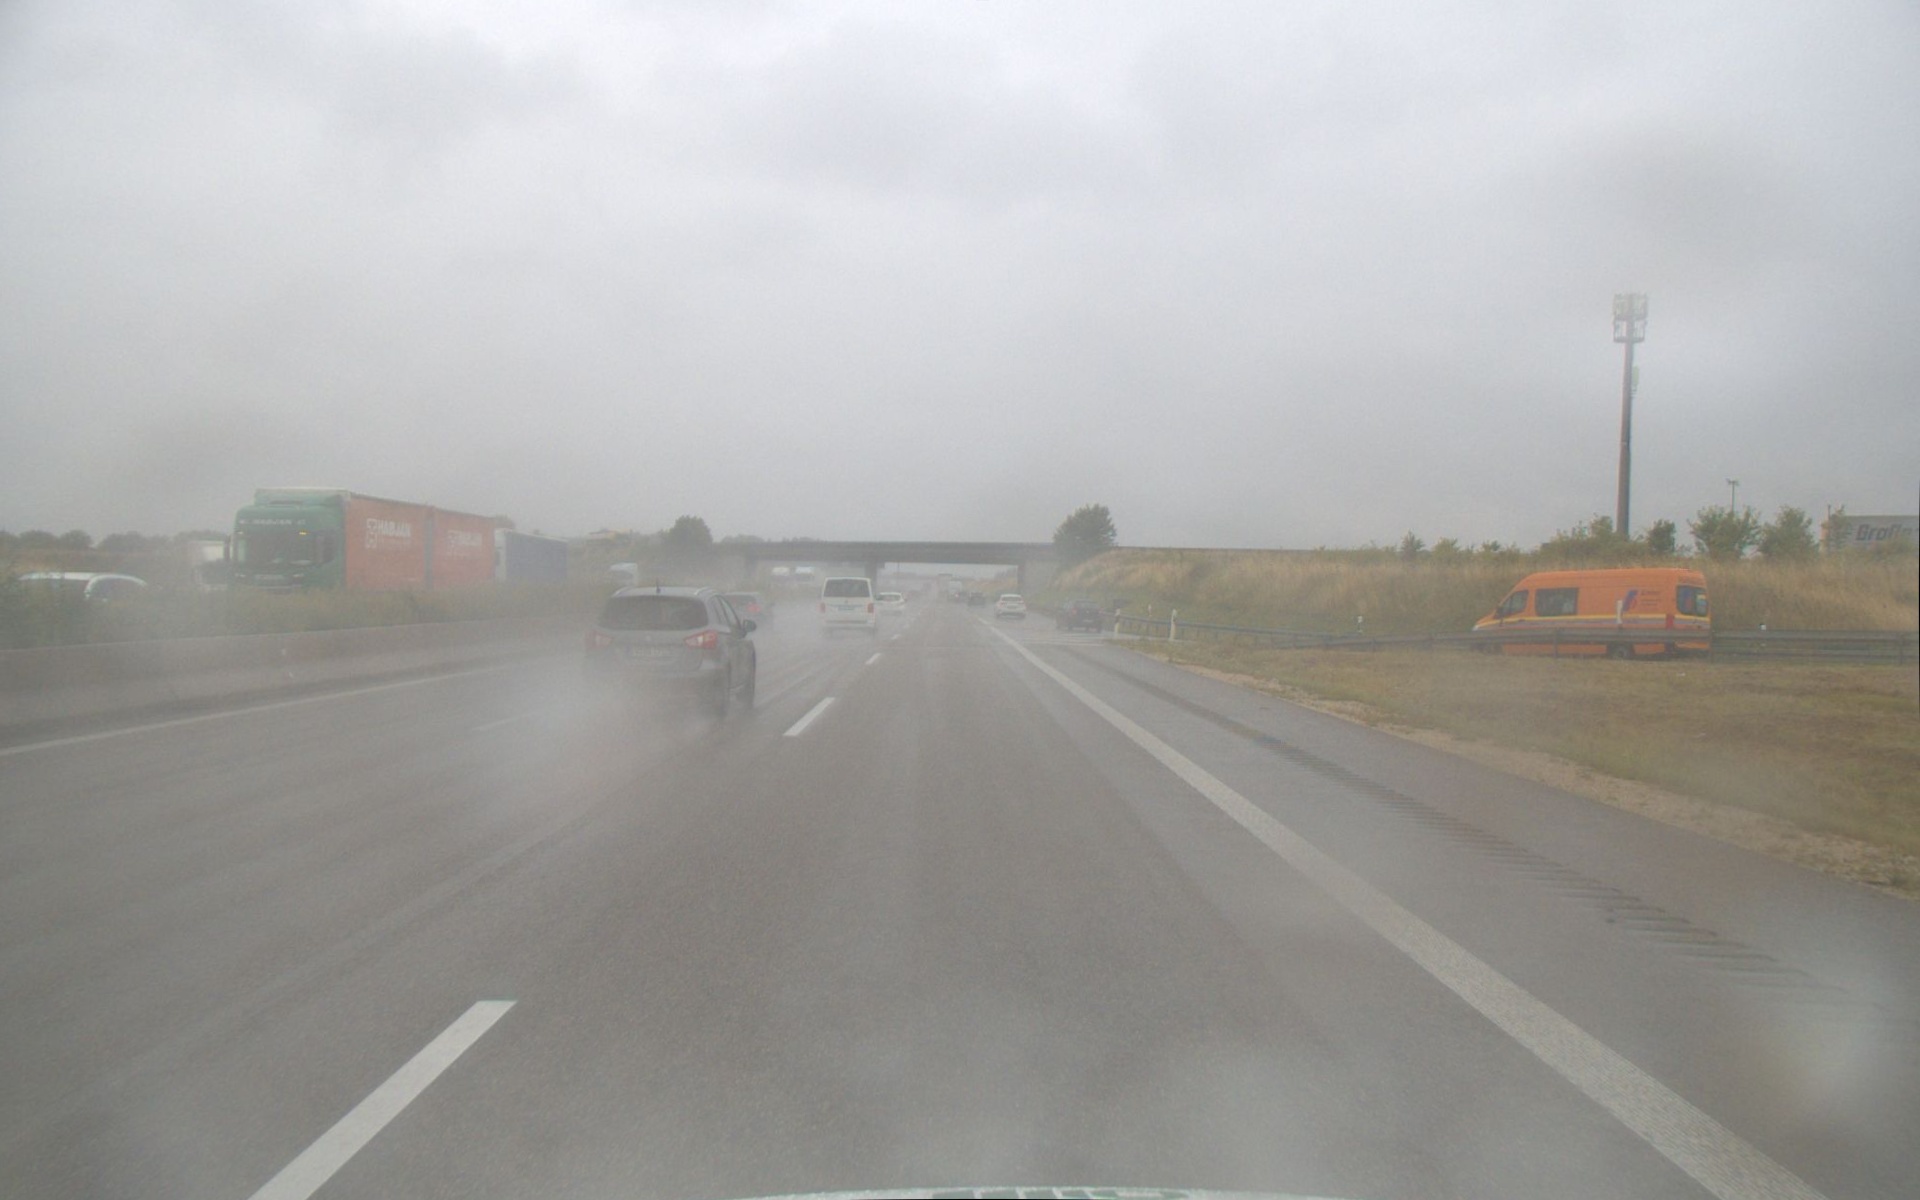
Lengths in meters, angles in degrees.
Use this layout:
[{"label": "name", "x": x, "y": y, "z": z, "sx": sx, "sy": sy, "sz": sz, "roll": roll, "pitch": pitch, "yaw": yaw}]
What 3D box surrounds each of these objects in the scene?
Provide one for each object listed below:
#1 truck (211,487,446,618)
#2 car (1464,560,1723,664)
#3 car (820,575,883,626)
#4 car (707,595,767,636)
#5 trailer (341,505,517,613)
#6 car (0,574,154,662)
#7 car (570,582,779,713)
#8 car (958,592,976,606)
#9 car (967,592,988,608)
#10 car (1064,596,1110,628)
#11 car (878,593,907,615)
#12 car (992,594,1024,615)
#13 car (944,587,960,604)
[{"label": "truck", "x": -18.423, "y": -1.288, "z": 49.203, "sx": 3.199, "sy": 3.501, "sz": 10.128, "roll": 0, "pitch": 0, "yaw": -1}, {"label": "car", "x": 17.644, "y": 0.277, "z": 46.492, "sx": 2.044, "sy": 2.661, "sz": 6.802, "roll": 2, "pitch": 0, "yaw": -35}, {"label": "car", "x": -3.592, "y": 0.031, "z": 55.447, "sx": 1.858, "sy": 1.613, "sz": 3.999, "roll": 1, "pitch": 0, "yaw": 0}, {"label": "car", "x": -7.939, "y": 0.549, "z": 59.132, "sx": 1.579, "sy": 1.378, "sz": 4.000, "roll": 1, "pitch": 0, "yaw": 0}, {"label": "trailer", "x": -18.482, "y": -1.348, "z": 58.339, "sx": 3.190, "sy": 3.517, "sz": 9.442, "roll": 0, "pitch": 0, "yaw": 0}, {"label": "car", "x": -14.791, "y": 0.284, "z": 27.486, "sx": 1.368, "sy": 1.375, "sz": 3.088, "roll": 1, "pitch": 0, "yaw": -3}, {"label": "car", "x": -3.647, "y": 0.562, "z": 21.993, "sx": 1.808, "sy": 1.539, "sz": 4.757, "roll": 0, "pitch": 0, "yaw": 2}, {"label": "car", "x": 0.774, "y": -0.128, "z": 185.217, "sx": 1.953, "sy": 1.489, "sz": 3.999, "roll": 0, "pitch": 0, "yaw": -1}, {"label": "car", "x": 1.631, "y": -0.017, "z": 156.406, "sx": 1.765, "sy": 1.534, "sz": 3.998, "roll": 0, "pitch": 0, "yaw": -3}, {"label": "car", "x": 6.024, "y": 0.545, "z": 78.611, "sx": 1.697, "sy": 1.446, "sz": 3.656, "roll": 1, "pitch": 0, "yaw": -3}, {"label": "car", "x": -3.715, "y": 0.227, "z": 91.093, "sx": 1.437, "sy": 1.229, "sz": 2.991, "roll": 0, "pitch": 0, "yaw": 0}, {"label": "car", "x": 2.963, "y": 0.274, "z": 102.938, "sx": 1.952, "sy": 1.288, "sz": 4.000, "roll": 1, "pitch": 0, "yaw": 1}, {"label": "car", "x": -1.035, "y": -0.565, "z": 212.748, "sx": 1.954, "sy": 2.138, "sz": 3.997, "roll": 0, "pitch": 0, "yaw": -3}]
